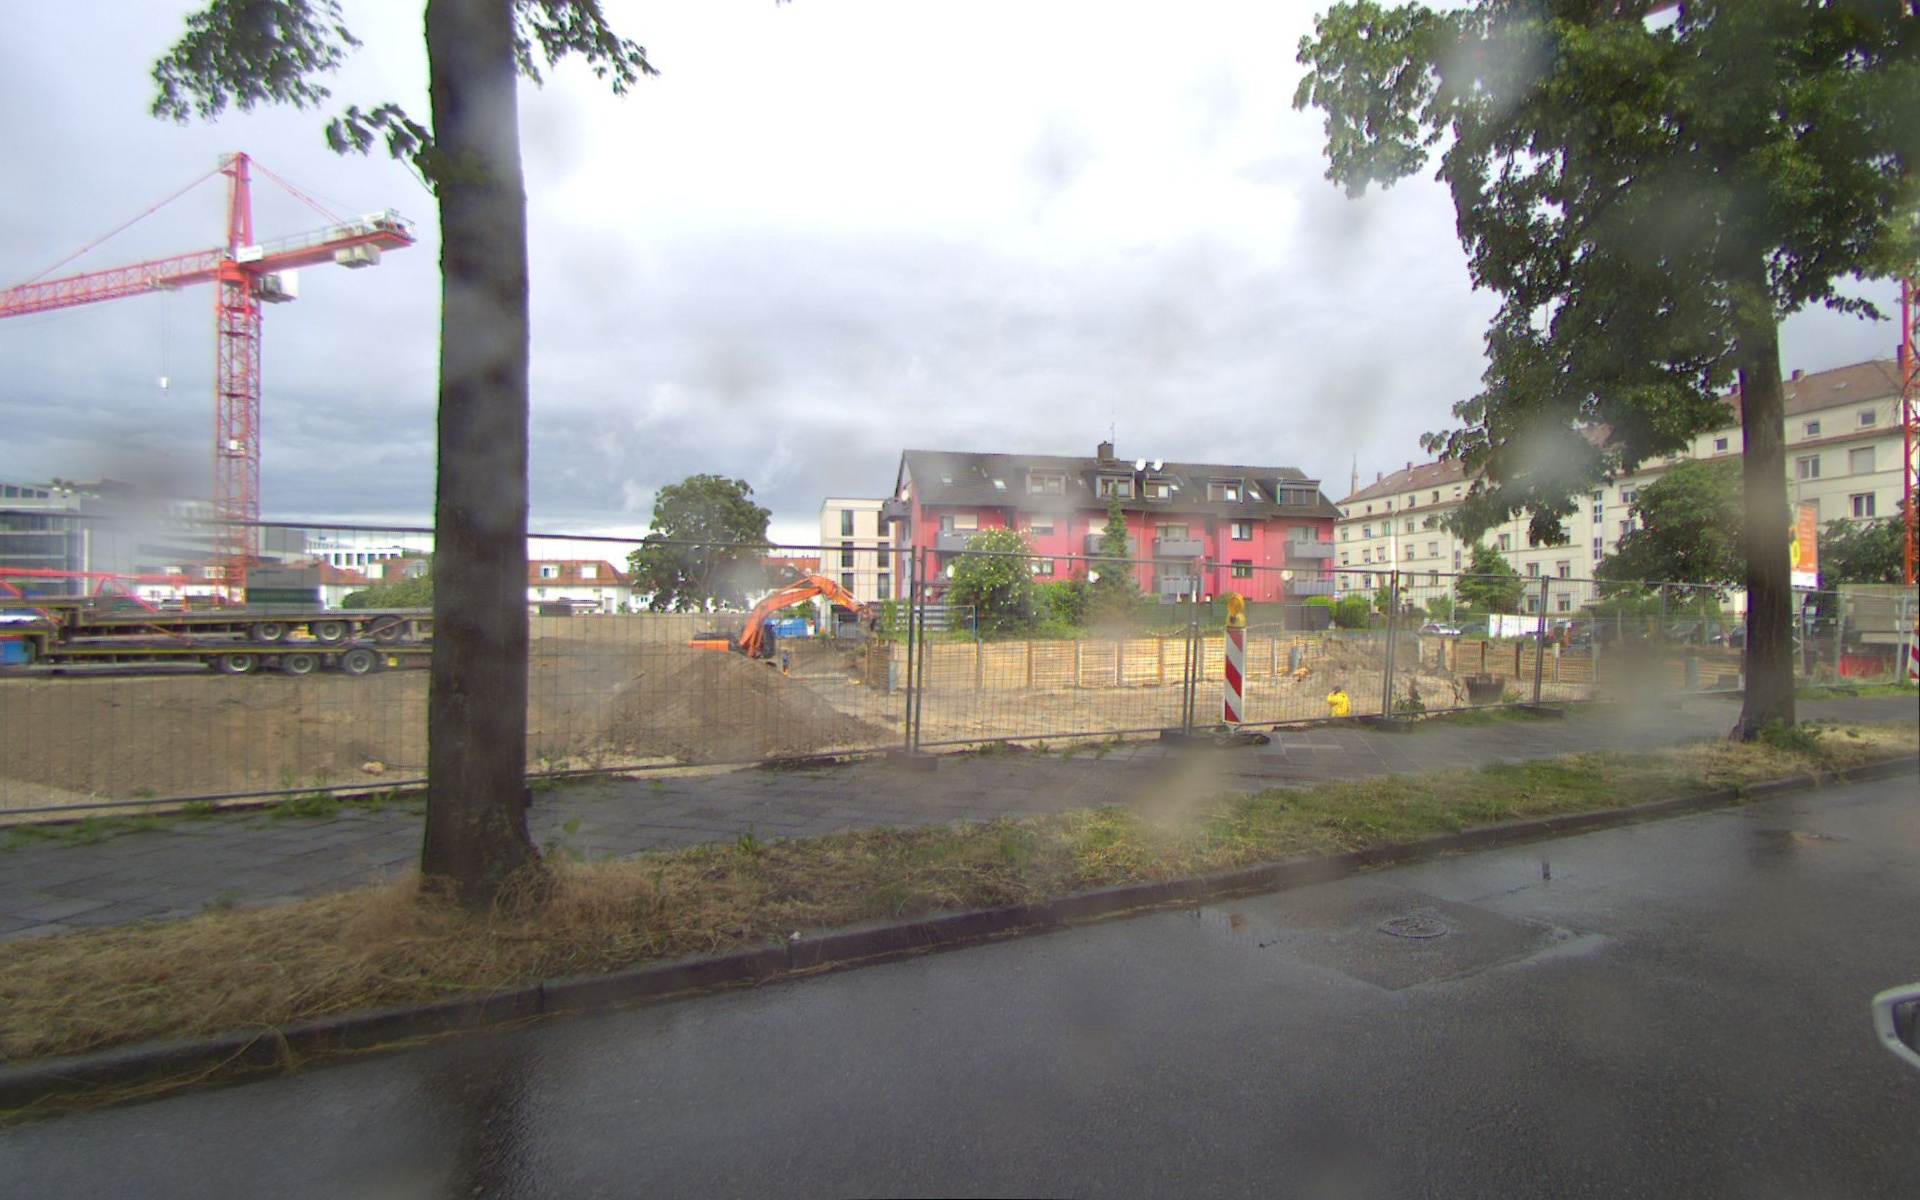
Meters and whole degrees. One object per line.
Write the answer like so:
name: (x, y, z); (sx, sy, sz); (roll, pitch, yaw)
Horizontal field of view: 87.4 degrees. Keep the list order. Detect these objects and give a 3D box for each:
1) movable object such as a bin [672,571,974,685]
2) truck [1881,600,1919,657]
movable object such as a bin: (-7.746, 1.510, 58.672); (16.430, 6.125, 6.885); (0, 0, -6)
truck: (47.301, 1.300, 45.291); (2.771, 2.692, 8.202); (0, 0, -20)
